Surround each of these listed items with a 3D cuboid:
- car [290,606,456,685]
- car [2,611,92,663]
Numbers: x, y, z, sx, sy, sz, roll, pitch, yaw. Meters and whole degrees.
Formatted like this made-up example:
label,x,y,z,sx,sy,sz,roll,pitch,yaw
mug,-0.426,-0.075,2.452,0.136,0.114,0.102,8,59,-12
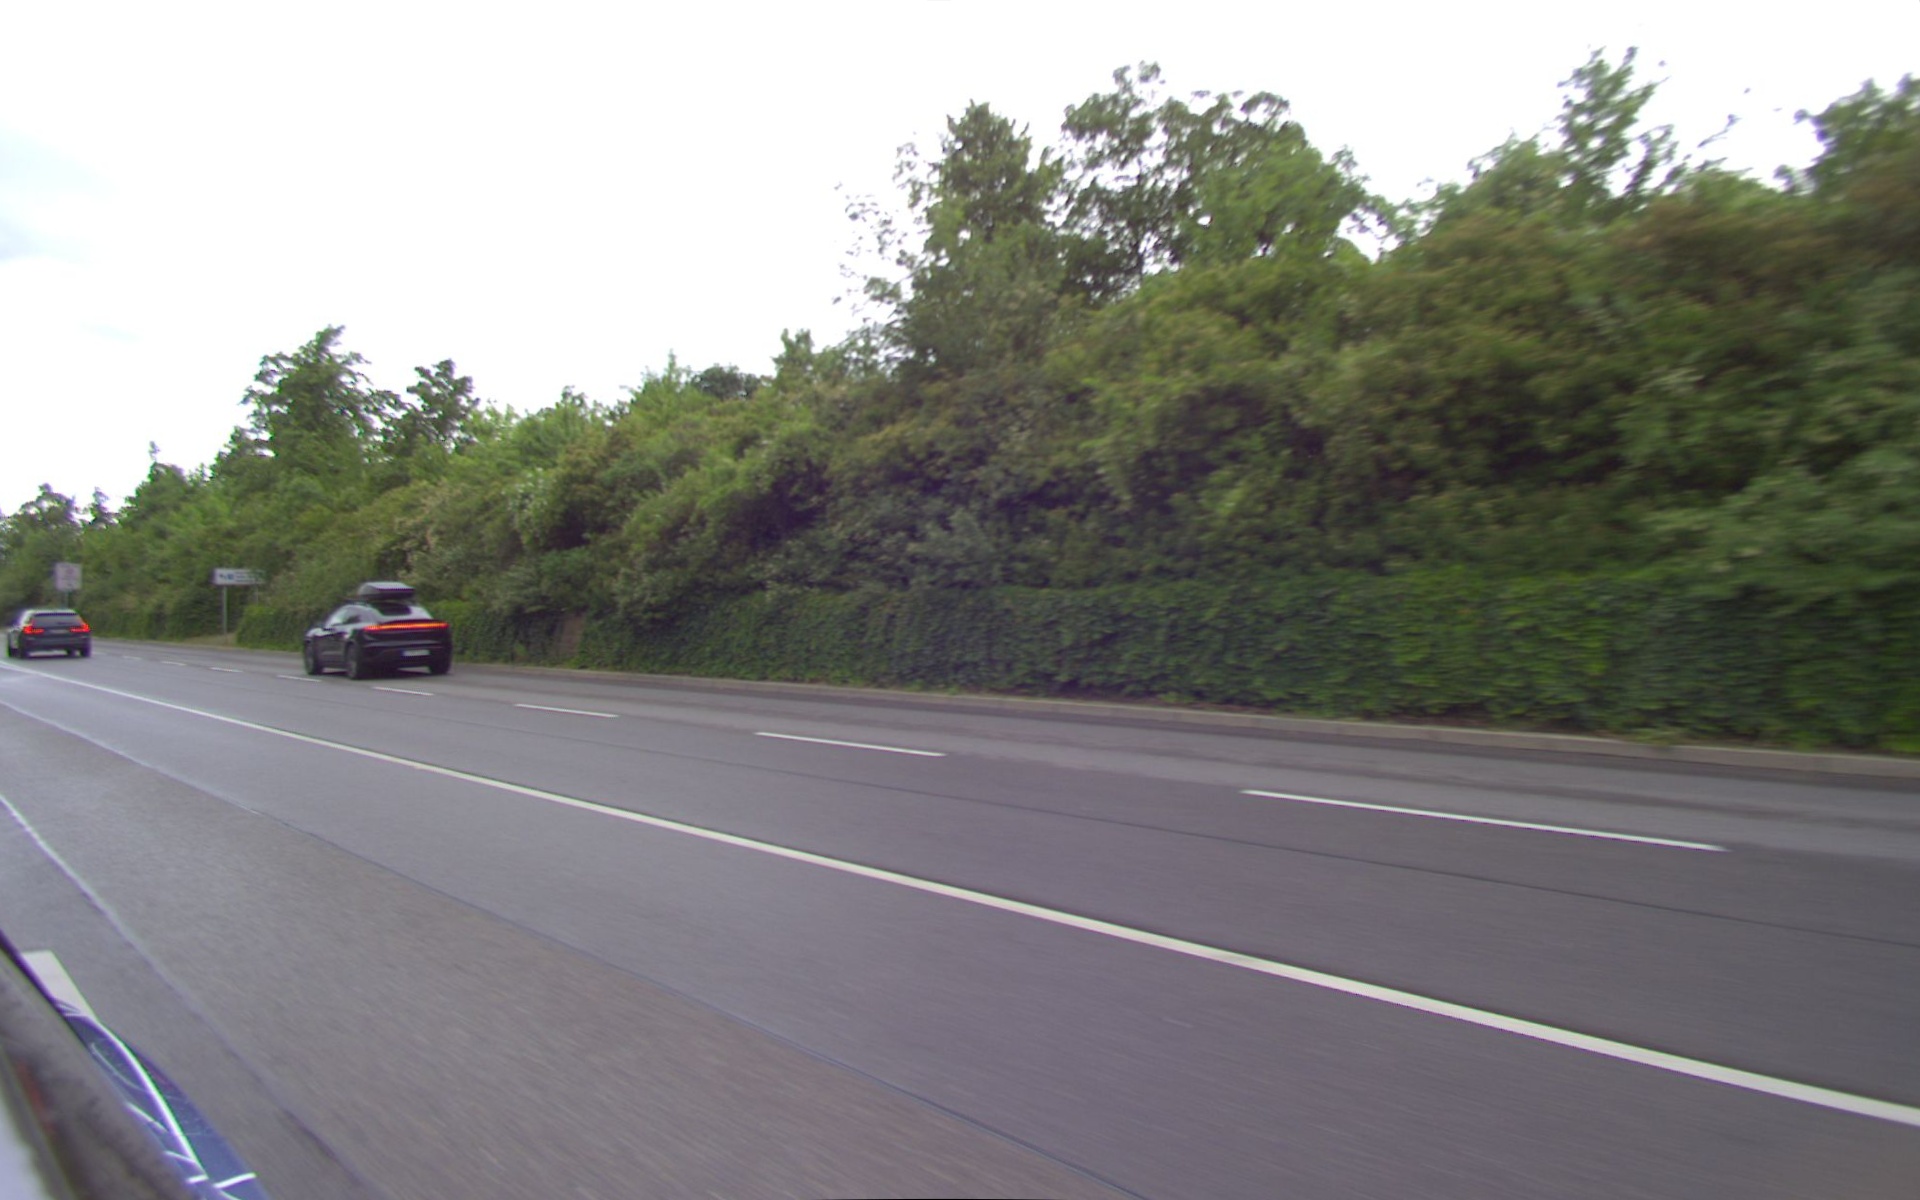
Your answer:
label,x,y,z,sx,sy,sz,roll,pitch,yaw
car,-13.308,0.965,22.824,4.629,1.564,1.879,-1,1,42
car,-32.282,1.262,35.738,4.592,1.670,1.793,-1,0,41
